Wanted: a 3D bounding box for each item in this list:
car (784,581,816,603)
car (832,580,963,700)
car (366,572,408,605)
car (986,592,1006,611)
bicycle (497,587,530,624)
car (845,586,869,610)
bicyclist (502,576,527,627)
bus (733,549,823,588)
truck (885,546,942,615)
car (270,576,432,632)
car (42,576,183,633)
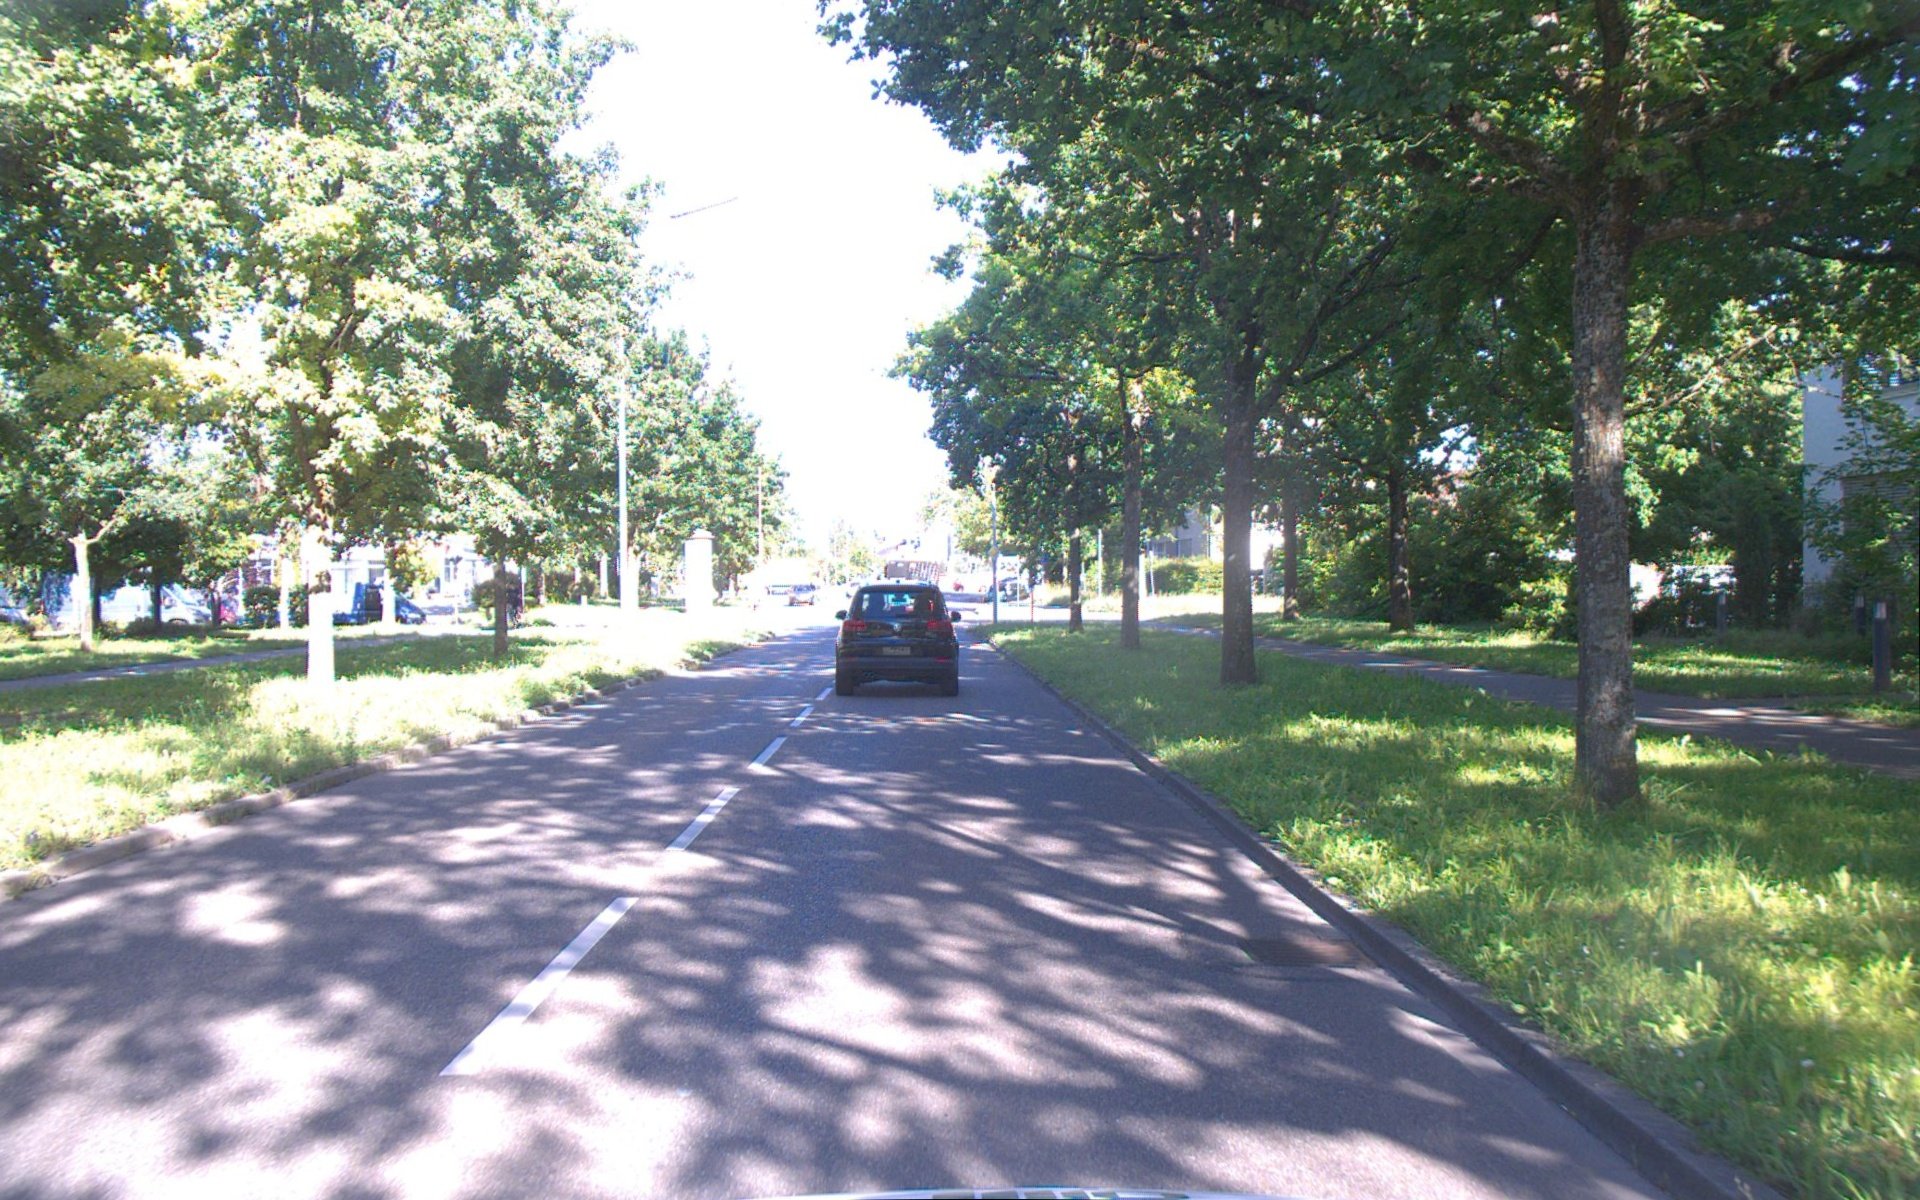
[{"bbox_3d":[-11.418,-0.571,118.248,1.953,1.481,3.999,-1,1,-2],"label":"car"},{"bbox_3d":[-0.877,0.536,25.412,1.745,1.662,4.001,1,1,1],"label":"car"},{"bbox_3d":[-40.654,-0.833,117.421,1.956,2.275,3.994,-1,1,-7],"label":"car"},{"bbox_3d":[2.752,0.091,127.604,1.422,1.430,2.855,1,1,0],"label":"car"},{"bbox_3d":[-16.400,0.191,60.763,0.702,1.344,1.991,1,1,-2],"label":"bicycle"},{"bbox_3d":[-9.135,-0.163,146.289,1.955,2.049,3.995,1,1,-6],"label":"car"},{"bbox_3d":[-16.413,0.053,60.918,0.672,1.863,0.934,1,0,-2],"label":"bicyclist"},{"bbox_3d":[-18.718,-3.238,169.667,8.938,3.844,3.379,1,1,-10],"label":"bus"},{"bbox_3d":[-2.293,-1.008,84.102,2.460,3.300,8.154,-1,1,1],"label":"truck"},{"bbox_3d":[-23.826,0.152,64.893,5.686,2.049,1.995,1,1,-11],"label":"car"},{"bbox_3d":[-26.162,0.115,51.135,3.288,1.671,2.001,1,1,4],"label":"car"}]
